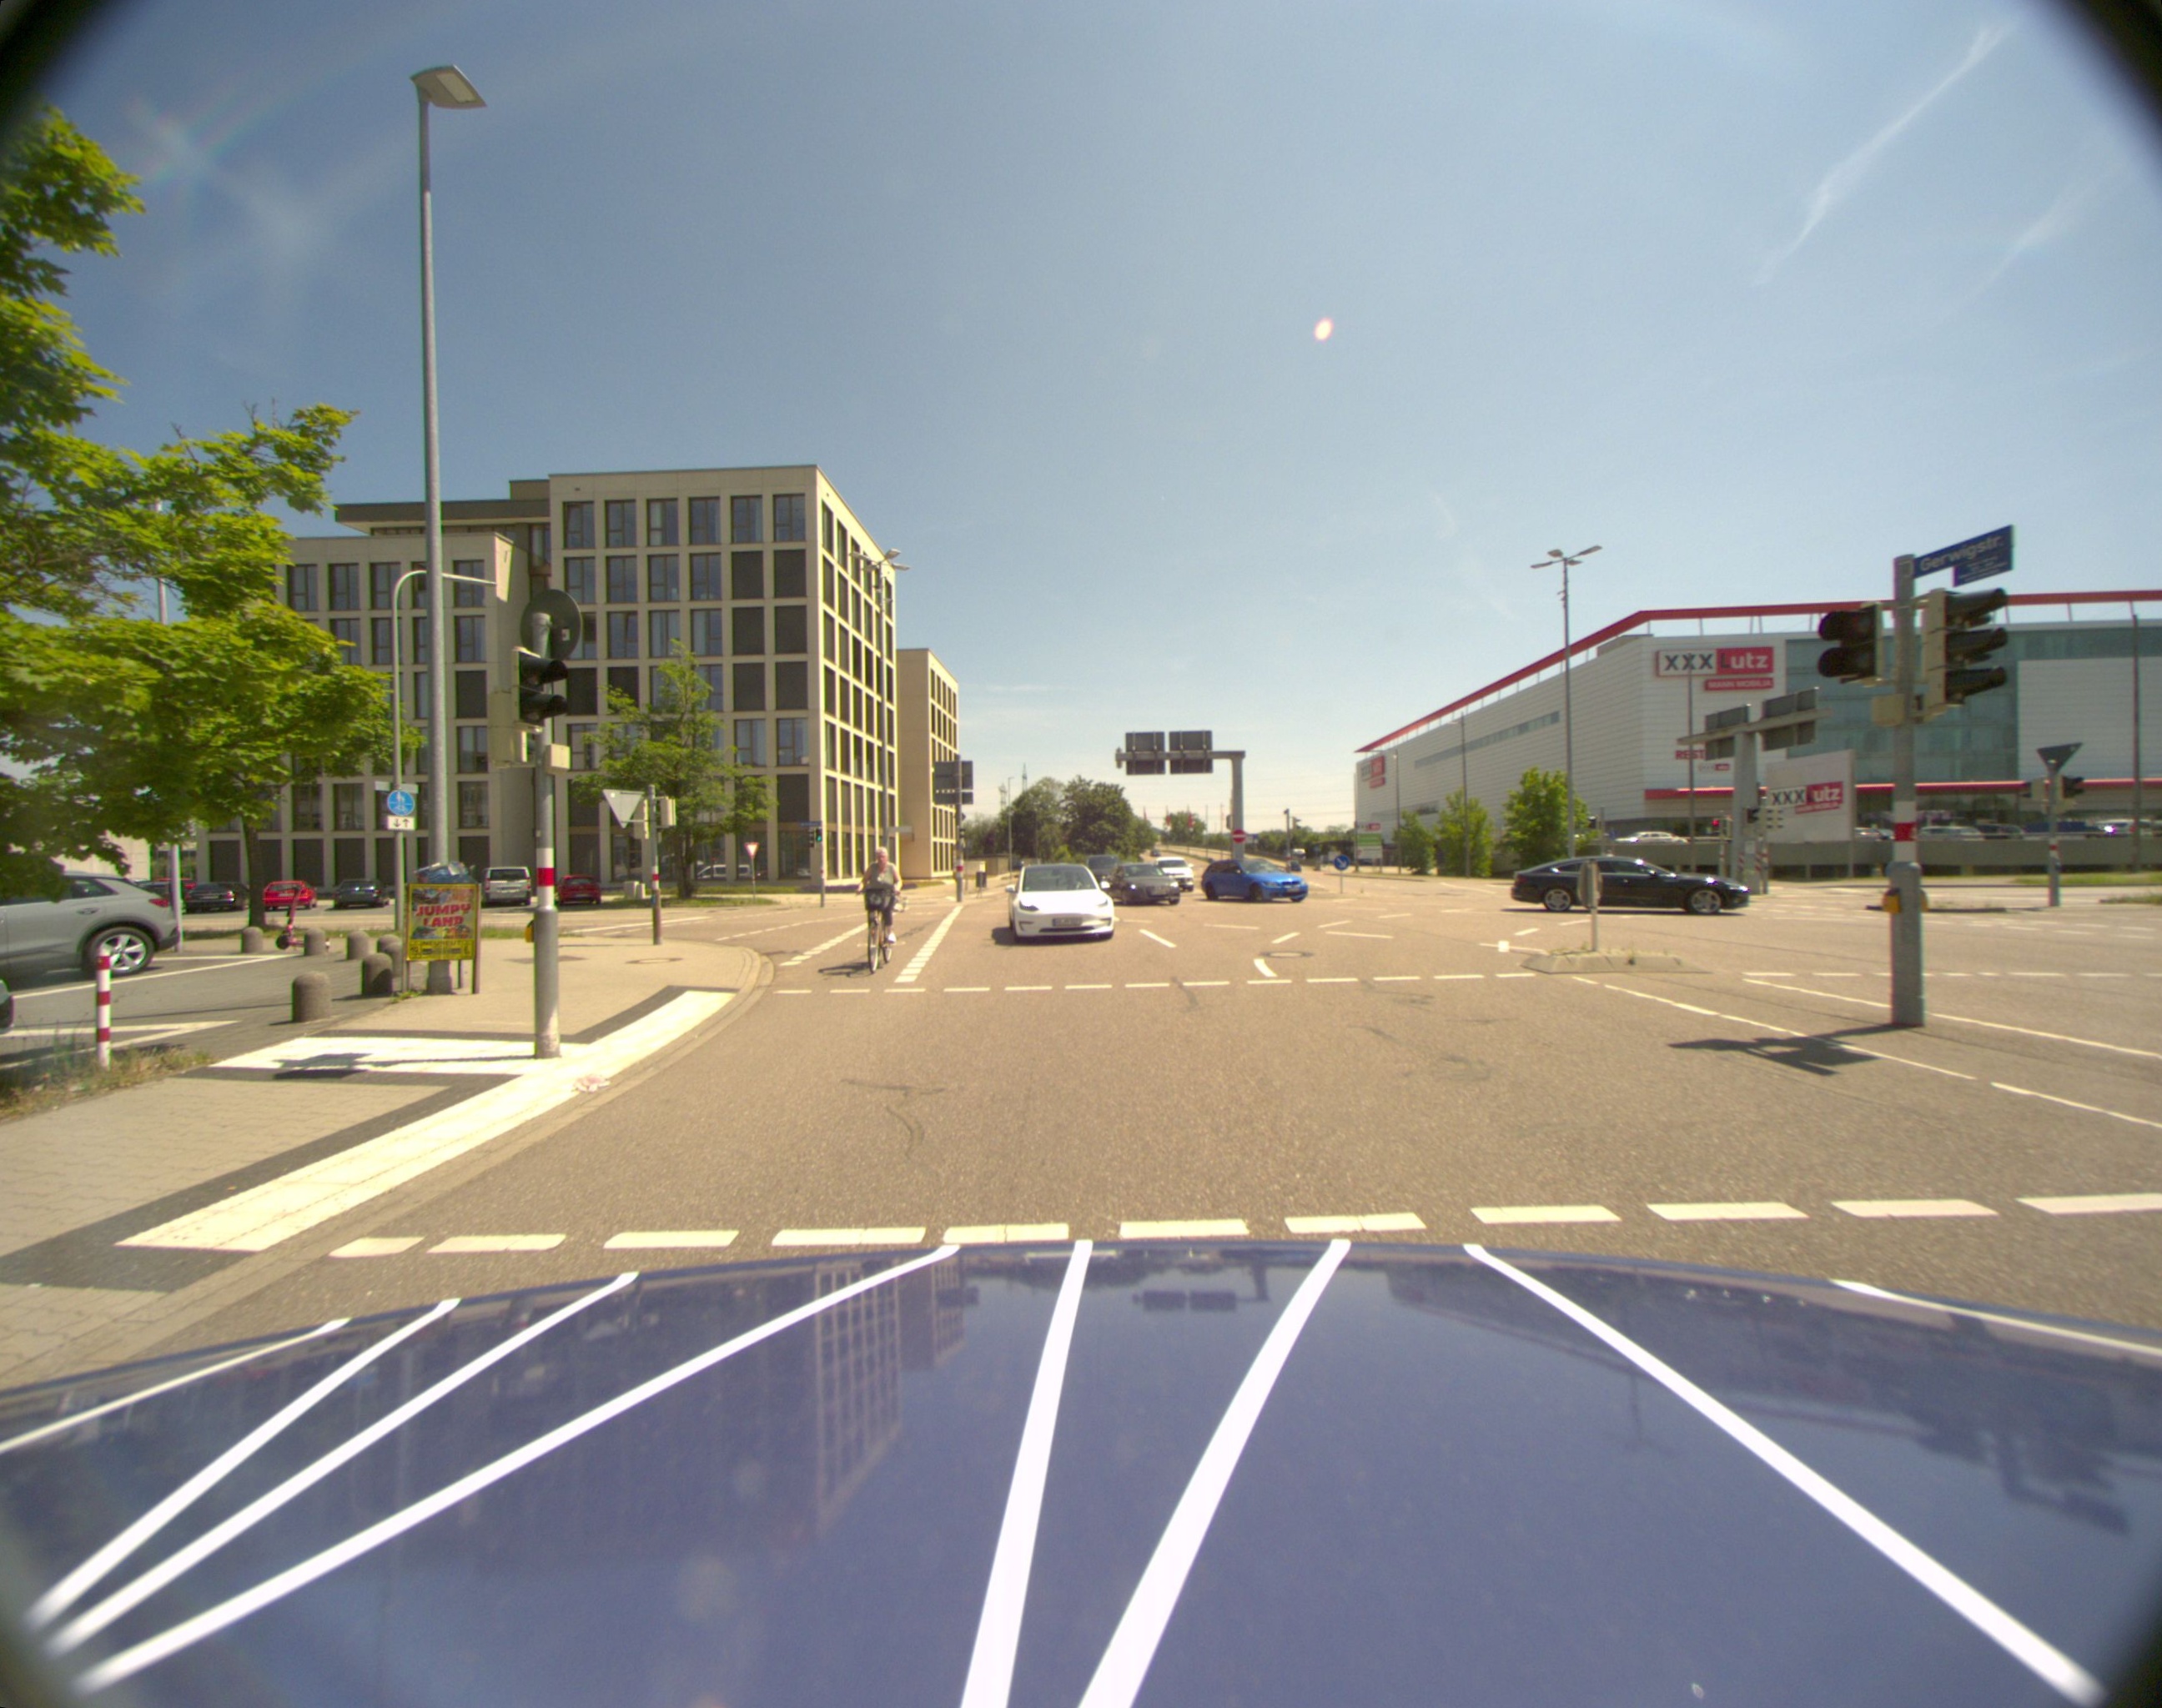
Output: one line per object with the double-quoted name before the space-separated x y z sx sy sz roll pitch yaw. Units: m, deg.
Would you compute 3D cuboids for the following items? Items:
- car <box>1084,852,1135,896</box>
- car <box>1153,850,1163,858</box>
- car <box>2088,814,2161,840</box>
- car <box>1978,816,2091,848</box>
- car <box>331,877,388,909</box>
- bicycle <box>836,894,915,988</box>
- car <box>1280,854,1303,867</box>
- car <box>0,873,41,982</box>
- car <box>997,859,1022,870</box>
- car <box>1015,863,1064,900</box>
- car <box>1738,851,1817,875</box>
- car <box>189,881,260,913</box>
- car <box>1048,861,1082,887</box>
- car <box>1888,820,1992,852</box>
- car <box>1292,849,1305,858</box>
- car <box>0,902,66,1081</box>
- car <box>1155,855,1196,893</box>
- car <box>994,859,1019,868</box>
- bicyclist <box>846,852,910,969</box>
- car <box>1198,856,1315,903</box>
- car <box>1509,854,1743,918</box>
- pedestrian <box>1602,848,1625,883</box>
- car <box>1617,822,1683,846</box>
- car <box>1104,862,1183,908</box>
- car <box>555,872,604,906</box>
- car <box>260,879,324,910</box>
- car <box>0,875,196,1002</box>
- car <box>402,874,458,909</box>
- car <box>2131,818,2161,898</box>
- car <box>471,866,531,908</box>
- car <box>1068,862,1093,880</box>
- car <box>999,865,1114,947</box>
"car" 1.383 0.856 34.735 1.895 1.810 4.839 -2 0 7
"car" 17.497 -0.051 173.011 1.998 1.696 4.001 -1 0 4
"car" 85.857 -2.197 62.085 1.998 1.889 4.001 -1 0 3
"car" 62.937 -1.407 50.274 1.999 2.002 4.329 -1 0 -2
"car" -35.858 1.912 37.845 1.924 1.431 3.989 -1 0 -42
"bicycle" -2.913 1.201 10.977 0.629 1.126 1.894 -2 0 -1
"car" 27.454 0.879 99.272 1.998 1.586 4.000 -1 0 3
"car" -17.486 1.178 10.013 1.848 1.644 4.000 -4 0 5
"car" -11.281 1.652 119.548 3.833 1.543 1.737 -1 0 -12
"car" -1.795 1.182 33.870 1.556 1.528 3.823 -1 0 6
"car" 51.550 0.668 56.287 3.997 1.696 2.000 -1 0 -1
"car" -41.993 2.063 37.340 1.878 1.367 3.989 -1 0 -42
"car" -1.006 1.280 50.331 1.777 1.600 3.822 -1 1 5
"car" 57.305 -1.145 50.799 1.999 2.002 4.329 -1 0 -1
"car" 53.191 -0.144 185.753 2.191 2.269 4.815 -1 0 5
"car" -10.832 1.229 5.473 4.603 1.382 1.869 -4 0 2
"car" 4.518 0.897 36.226 1.768 1.631 4.494 -3 0 7
"car" -11.890 1.484 121.414 3.833 1.385 1.737 -1 0 -12
"bicyclist" -2.916 0.788 10.979 0.629 1.596 0.825 -3 0 -2
"car" 5.838 0.821 25.848 1.772 1.395 4.424 -2 0 -19
"car" 13.050 0.742 18.524 4.454 1.396 1.680 -1 0 32
"pedestrian" 27.053 0.574 38.629 0.604 1.773 0.827 -1 0 5
"car" 50.091 -1.753 66.947 4.469 2.002 1.679 -1 0 3
"car" 2.016 0.981 25.639 1.770 1.374 4.087 -1 0 -8
"car" -24.902 1.691 37.692 1.703 1.424 3.989 -2 1 -37
"car" -39.040 1.972 37.664 1.924 1.345 3.989 -1 0 -42
"car" -14.954 1.155 9.706 1.872 1.549 4.503 0 1 3
"car" -31.961 1.804 37.263 1.924 1.580 3.989 -1 0 -42
"car" 31.837 0.050 20.009 5.042 2.170 2.001 -1 0 7
"car" -28.702 1.609 37.539 1.924 1.875 4.919 -1 -1 -42
"car" -0.023 1.373 62.408 1.769 1.395 3.952 -2 0 3
"car" -0.674 1.008 16.364 1.825 1.427 4.281 -3 0 -10
